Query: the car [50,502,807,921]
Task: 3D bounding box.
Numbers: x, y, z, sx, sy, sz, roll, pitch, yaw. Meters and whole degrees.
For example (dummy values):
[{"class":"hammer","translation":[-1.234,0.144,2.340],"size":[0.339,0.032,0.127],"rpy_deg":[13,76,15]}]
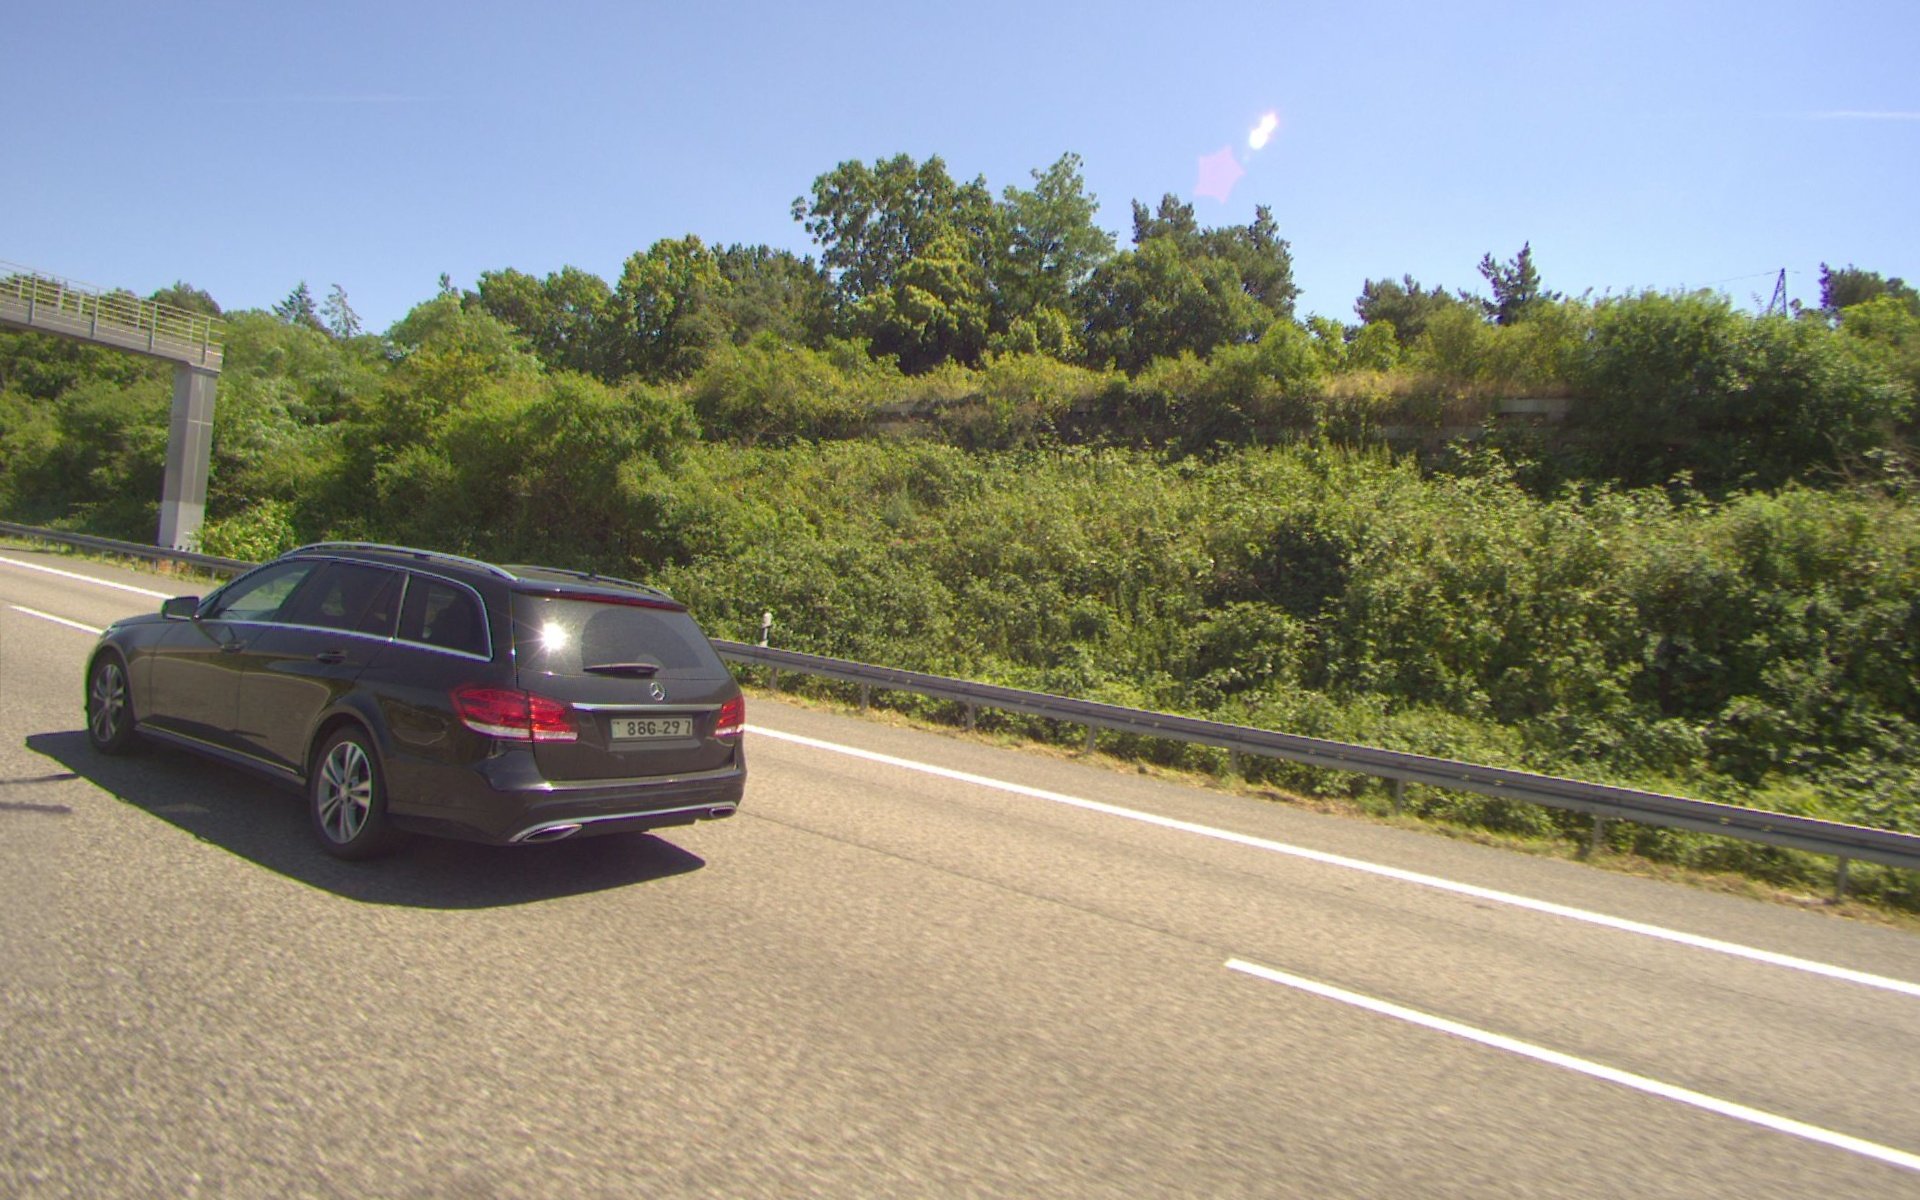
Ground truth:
[{"class":"car","translation":[-3.388,0.416,6.101],"size":[4.659,1.523,1.844],"rpy_deg":[6,-1,32]}]
